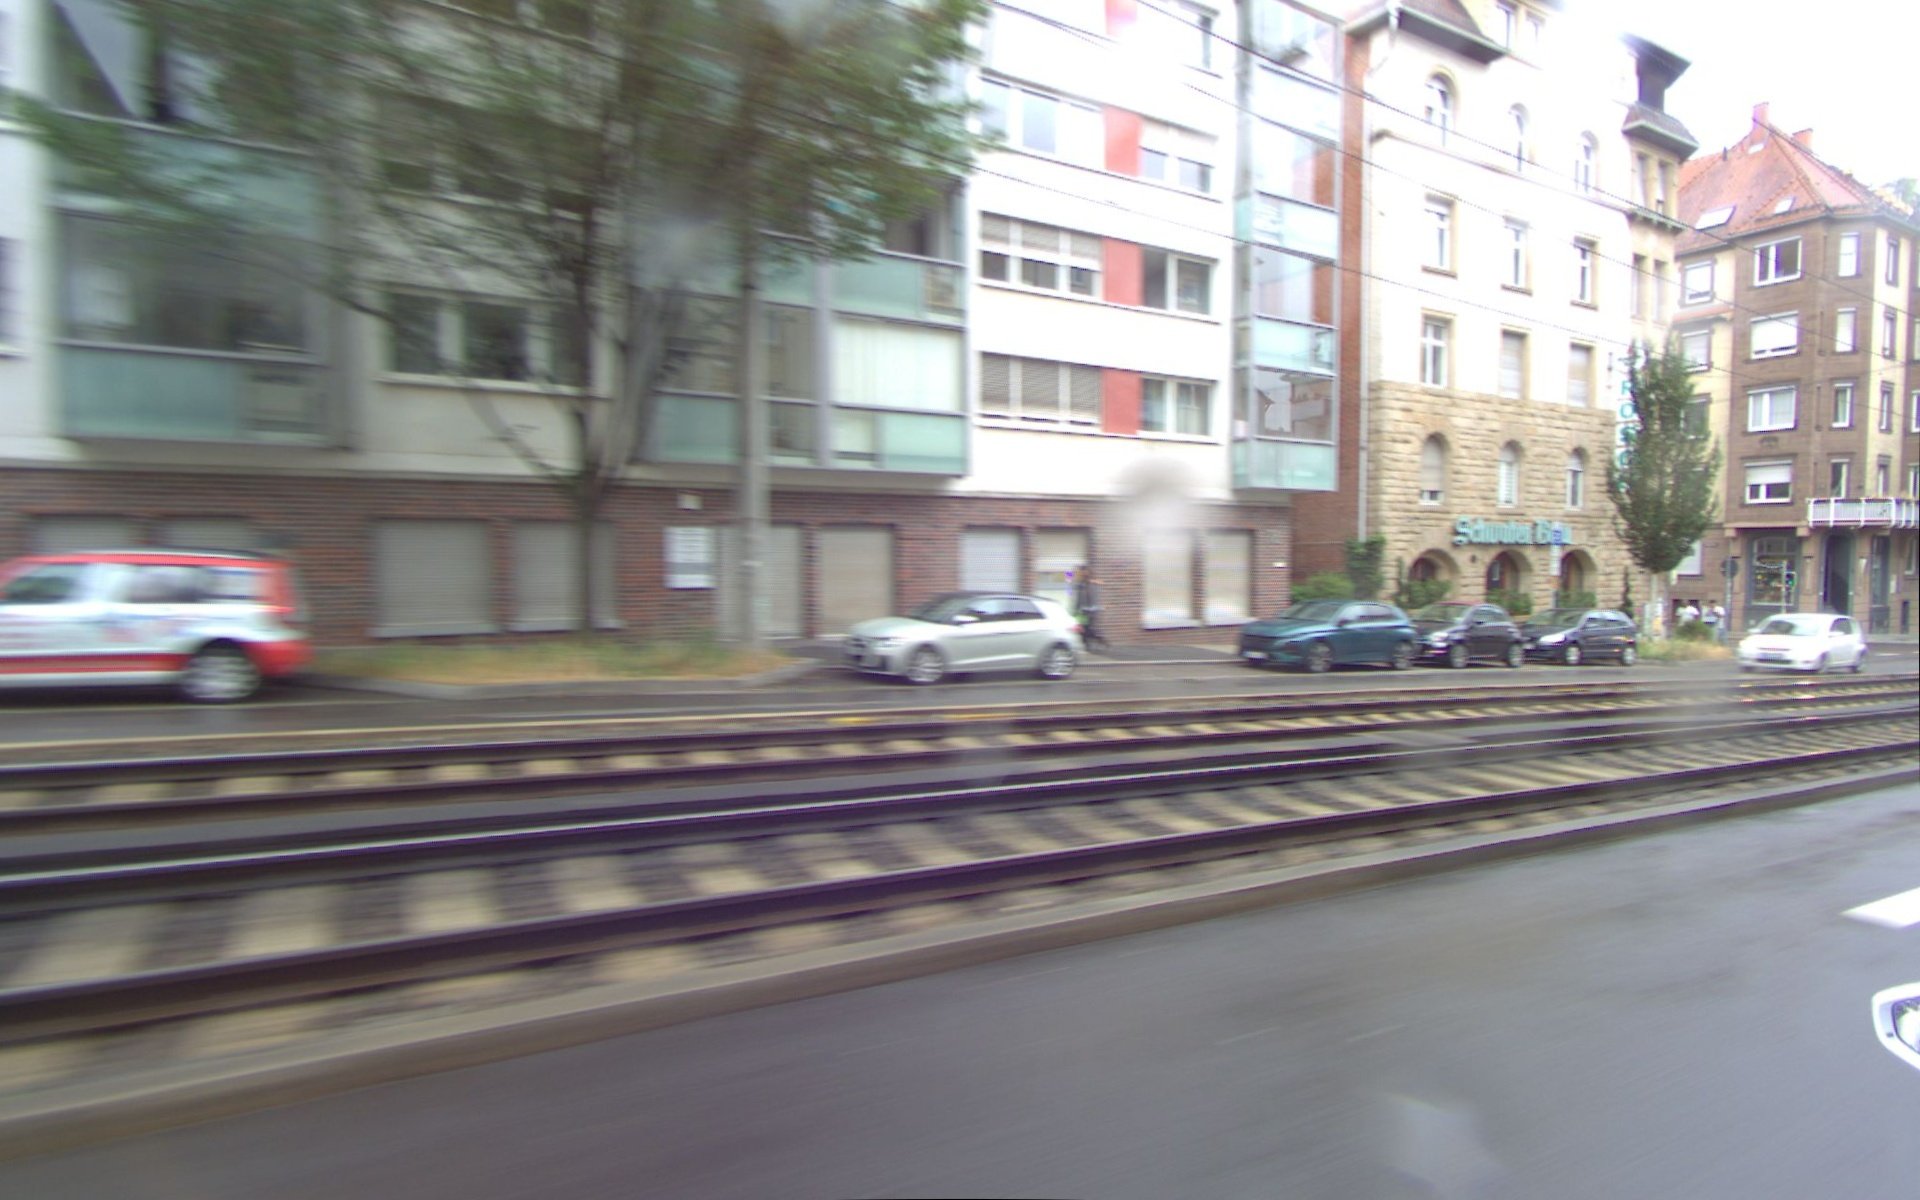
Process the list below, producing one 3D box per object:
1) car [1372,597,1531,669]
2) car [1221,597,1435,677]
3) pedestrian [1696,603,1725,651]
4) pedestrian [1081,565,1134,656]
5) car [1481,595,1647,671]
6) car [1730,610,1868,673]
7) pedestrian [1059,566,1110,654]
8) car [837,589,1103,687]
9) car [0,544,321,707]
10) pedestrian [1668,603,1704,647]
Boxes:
[{"bbox_3d":[11.463,0.743,23.378,3.489,1.518,1.796,1,1,-34],"label":"car"},{"bbox_3d":[7.736,0.708,21.032,4.376,1.474,1.793,0,2,-29],"label":"car"},{"bbox_3d":[25.121,0.891,33.610,0.635,1.591,0.515,1,0,-26],"label":"pedestrian"},{"bbox_3d":[2.970,0.207,20.237,0.773,1.796,0.670,1,1,-30],"label":"pedestrian"},{"bbox_3d":[15.658,0.824,26.040,3.689,1.751,1.880,1,3,-25],"label":"car"},{"bbox_3d":[21.867,1.048,26.166,3.538,1.502,1.619,1,1,-30],"label":"car"},{"bbox_3d":[2.588,0.198,20.898,0.773,1.796,0.670,1,1,-30],"label":"pedestrian"},{"bbox_3d":[0.207,0.592,16.587,4.082,1.354,1.693,1,3,-30],"label":"car"},{"bbox_3d":[-9.380,0.243,10.844,4.112,1.590,1.767,1,1,-32],"label":"car"},{"bbox_3d":[24.711,0.852,34.202,0.637,1.441,0.751,1,1,-28],"label":"pedestrian"}]
